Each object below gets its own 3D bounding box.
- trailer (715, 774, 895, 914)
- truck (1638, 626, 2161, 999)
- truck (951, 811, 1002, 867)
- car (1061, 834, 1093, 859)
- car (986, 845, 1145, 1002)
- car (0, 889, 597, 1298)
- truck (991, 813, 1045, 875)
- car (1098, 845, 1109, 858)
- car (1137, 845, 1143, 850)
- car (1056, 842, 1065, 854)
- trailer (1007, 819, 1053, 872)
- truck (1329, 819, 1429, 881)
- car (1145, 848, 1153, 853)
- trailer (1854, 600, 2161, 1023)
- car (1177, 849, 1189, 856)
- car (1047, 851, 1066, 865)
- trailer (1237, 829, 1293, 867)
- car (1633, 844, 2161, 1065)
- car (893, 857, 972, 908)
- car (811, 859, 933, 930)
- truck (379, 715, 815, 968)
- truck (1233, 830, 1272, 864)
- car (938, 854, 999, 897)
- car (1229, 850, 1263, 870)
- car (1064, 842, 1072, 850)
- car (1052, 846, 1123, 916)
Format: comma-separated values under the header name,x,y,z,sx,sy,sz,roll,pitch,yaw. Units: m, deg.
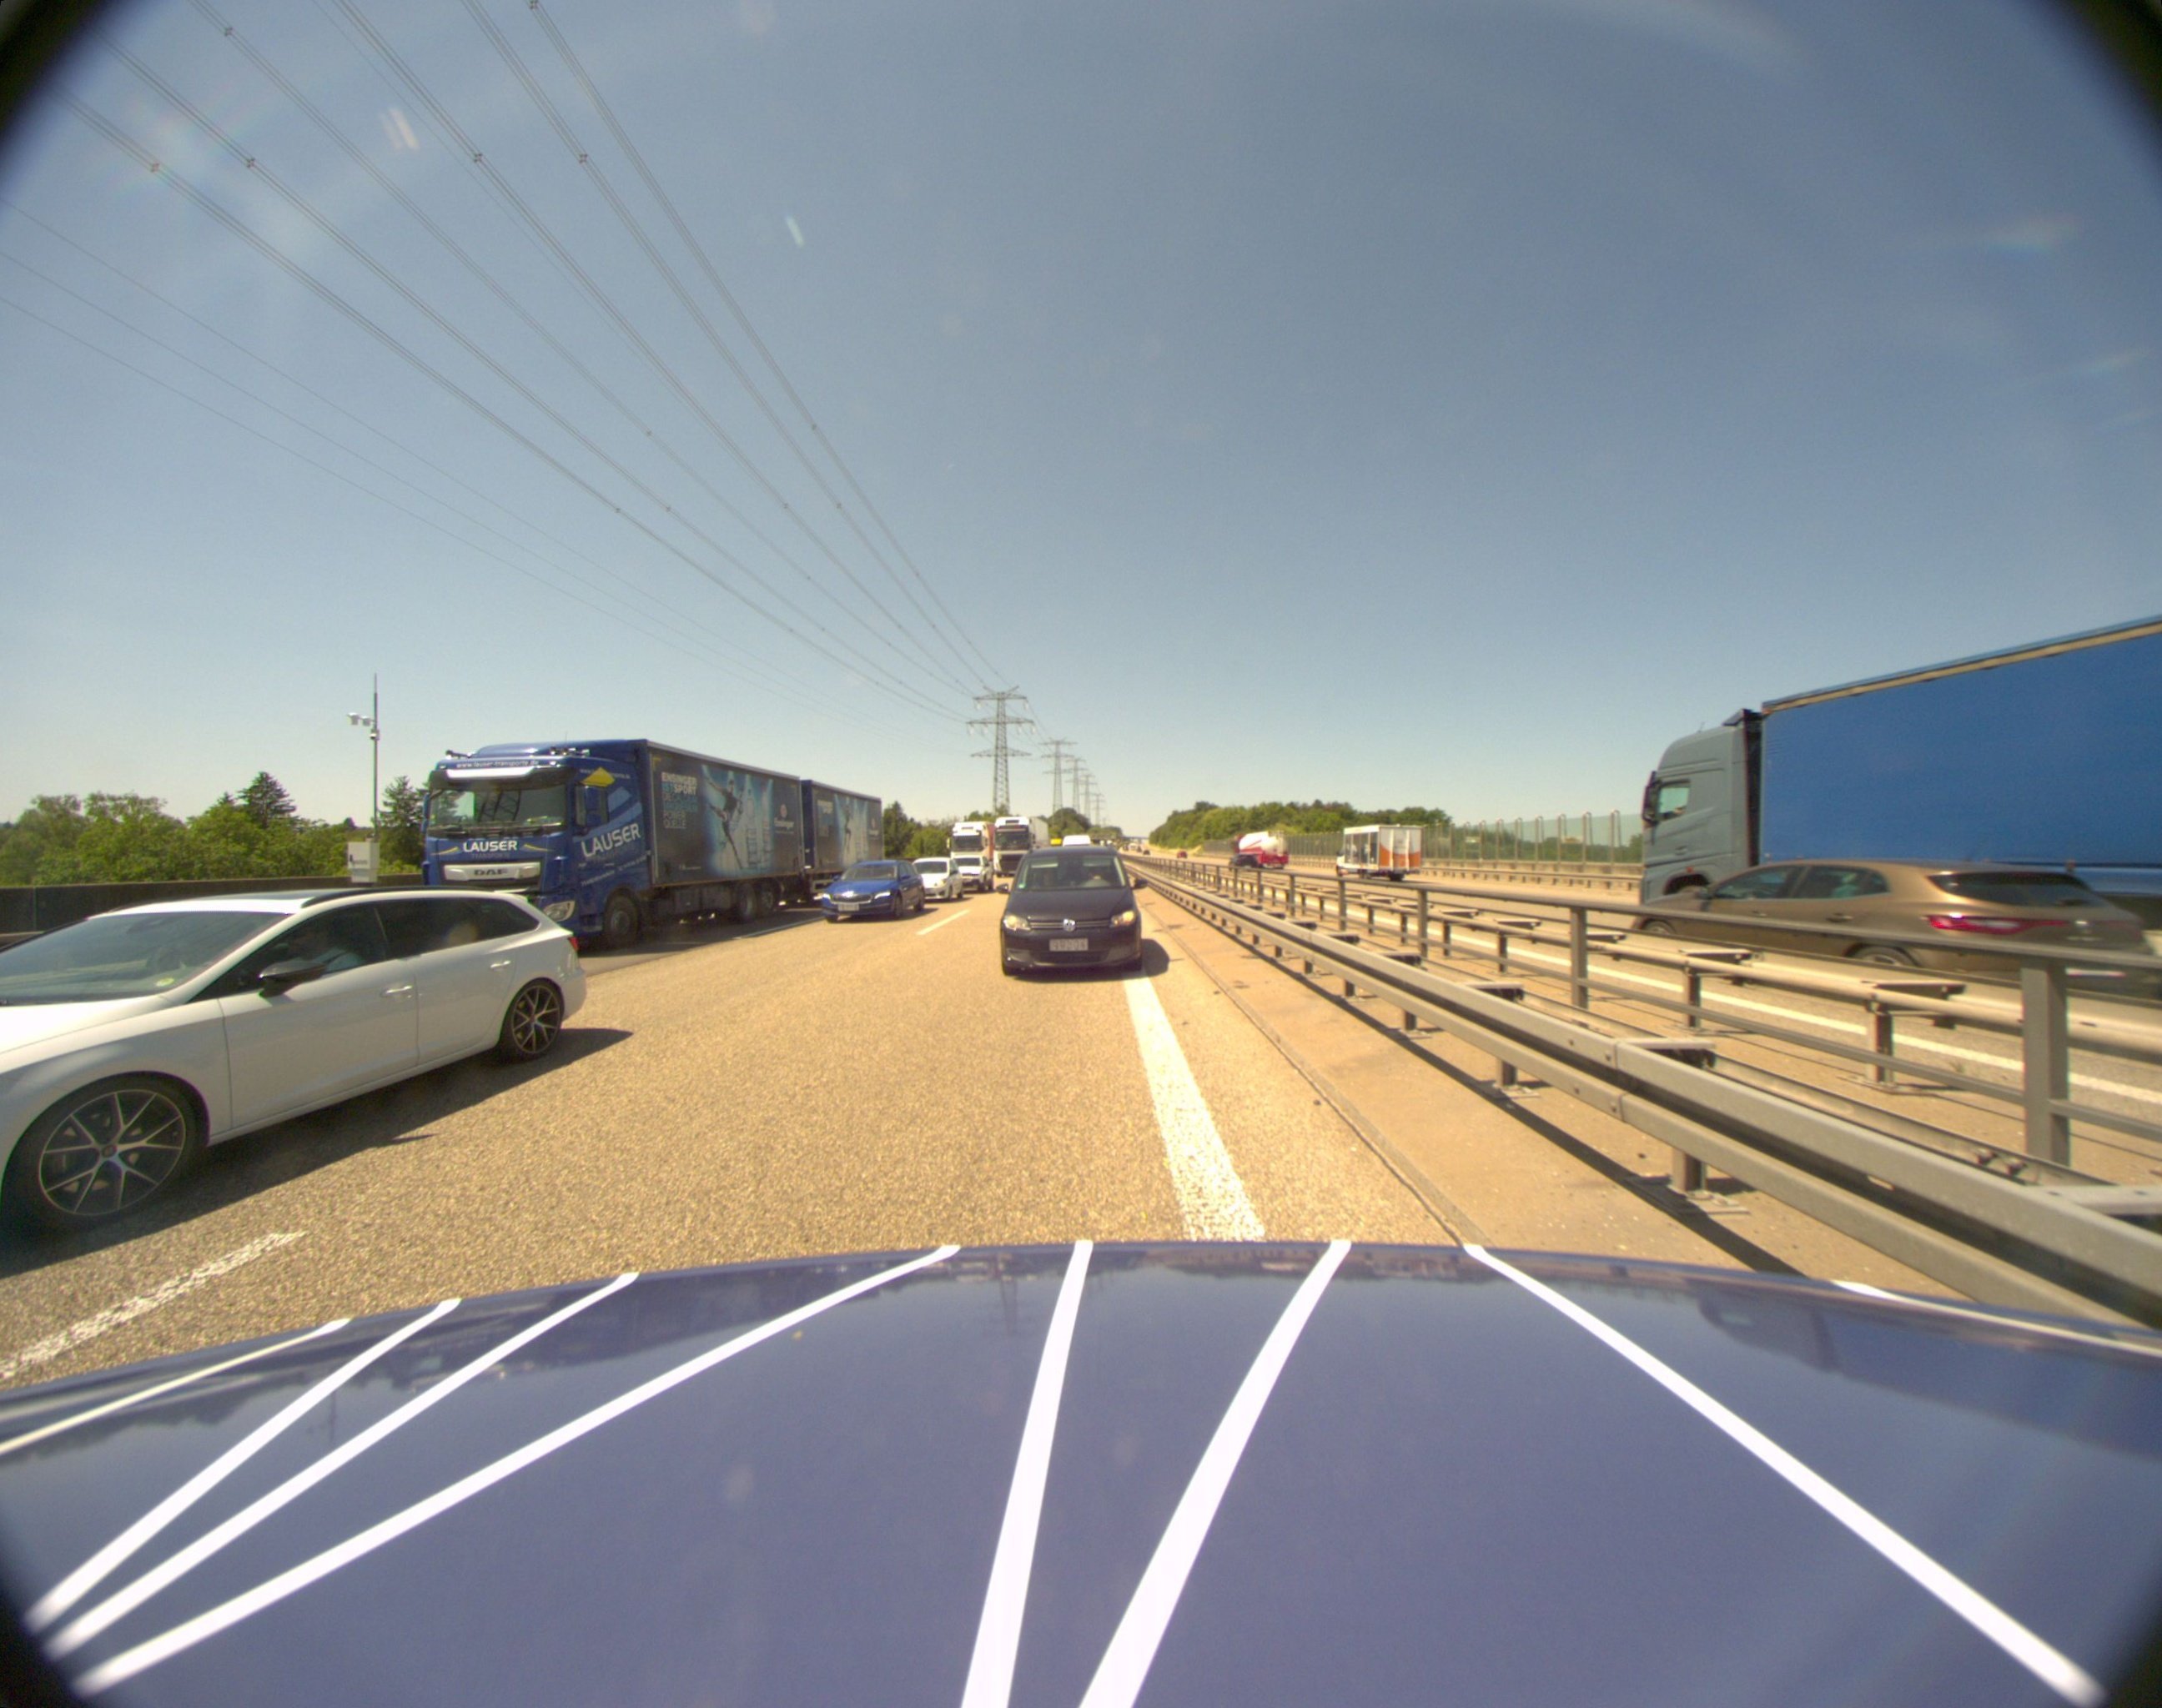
name,x,y,z,sx,sy,sz,roll,pitch,yaw
trailer,-9.257,-0.364,26.916,2.835,4.066,8.637,-2,1,2
truck,12.077,-0.497,11.464,2.760,4.093,6.264,0,1,1
truck,-7.991,-1.133,59.313,2.608,3.965,8.263,-2,1,1
car,-0.245,-0.526,49.996,1.924,1.501,3.996,-2,1,2
car,-0.140,0.761,10.484,1.712,1.669,3.931,-2,1,1
car,-5.152,1.067,4.444,1.713,1.443,4.429,-2,0,0
truck,-4.229,-0.711,52.628,2.849,3.804,8.263,-2,1,1
car,3.727,-0.423,126.674,1.704,2.116,3.999,-2,1,1
car,20.483,-2.169,261.836,1.832,1.629,3.999,2,1,1
car,-4.611,-1.363,170.036,1.704,2.525,3.999,2,1,1
trailer,-3.978,-0.700,61.341,2.822,3.830,9.083,-2,1,1
truck,16.979,-0.288,43.941,2.569,3.170,8.292,2,1,1
car,17.855,-0.918,198.994,1.704,1.412,4.000,2,1,1
trailer,11.921,-0.366,4.333,2.711,4.142,12.047,0,1,0
car,19.970,-0.295,148.642,1.786,1.412,4.000,2,1,1
car,-2.898,0.500,90.295,1.924,1.501,3.996,-2,1,2
trailer,17.793,-0.638,74.237,2.883,3.360,12.006,1,1,2
car,8.068,0.710,7.673,1.886,1.543,4.188,-2,1,0
car,-4.933,0.887,25.797,1.712,1.443,4.144,-2,1,2
car,-5.230,0.944,19.666,1.712,1.443,4.563,-2,1,2
truck,-9.536,-0.279,17.331,2.859,3.927,10.393,-2,1,2
truck,18.027,-0.737,80.371,2.915,3.395,6.294,1,1,2
car,-4.489,0.812,30.943,1.712,1.501,4.144,-2,1,2
car,12.792,0.432,59.071,1.802,1.490,3.851,0,1,1
car,-3.420,-2.056,197.285,1.704,2.116,3.999,2,1,1
car,0.193,0.672,21.121,1.712,1.669,3.931,-2,1,1
